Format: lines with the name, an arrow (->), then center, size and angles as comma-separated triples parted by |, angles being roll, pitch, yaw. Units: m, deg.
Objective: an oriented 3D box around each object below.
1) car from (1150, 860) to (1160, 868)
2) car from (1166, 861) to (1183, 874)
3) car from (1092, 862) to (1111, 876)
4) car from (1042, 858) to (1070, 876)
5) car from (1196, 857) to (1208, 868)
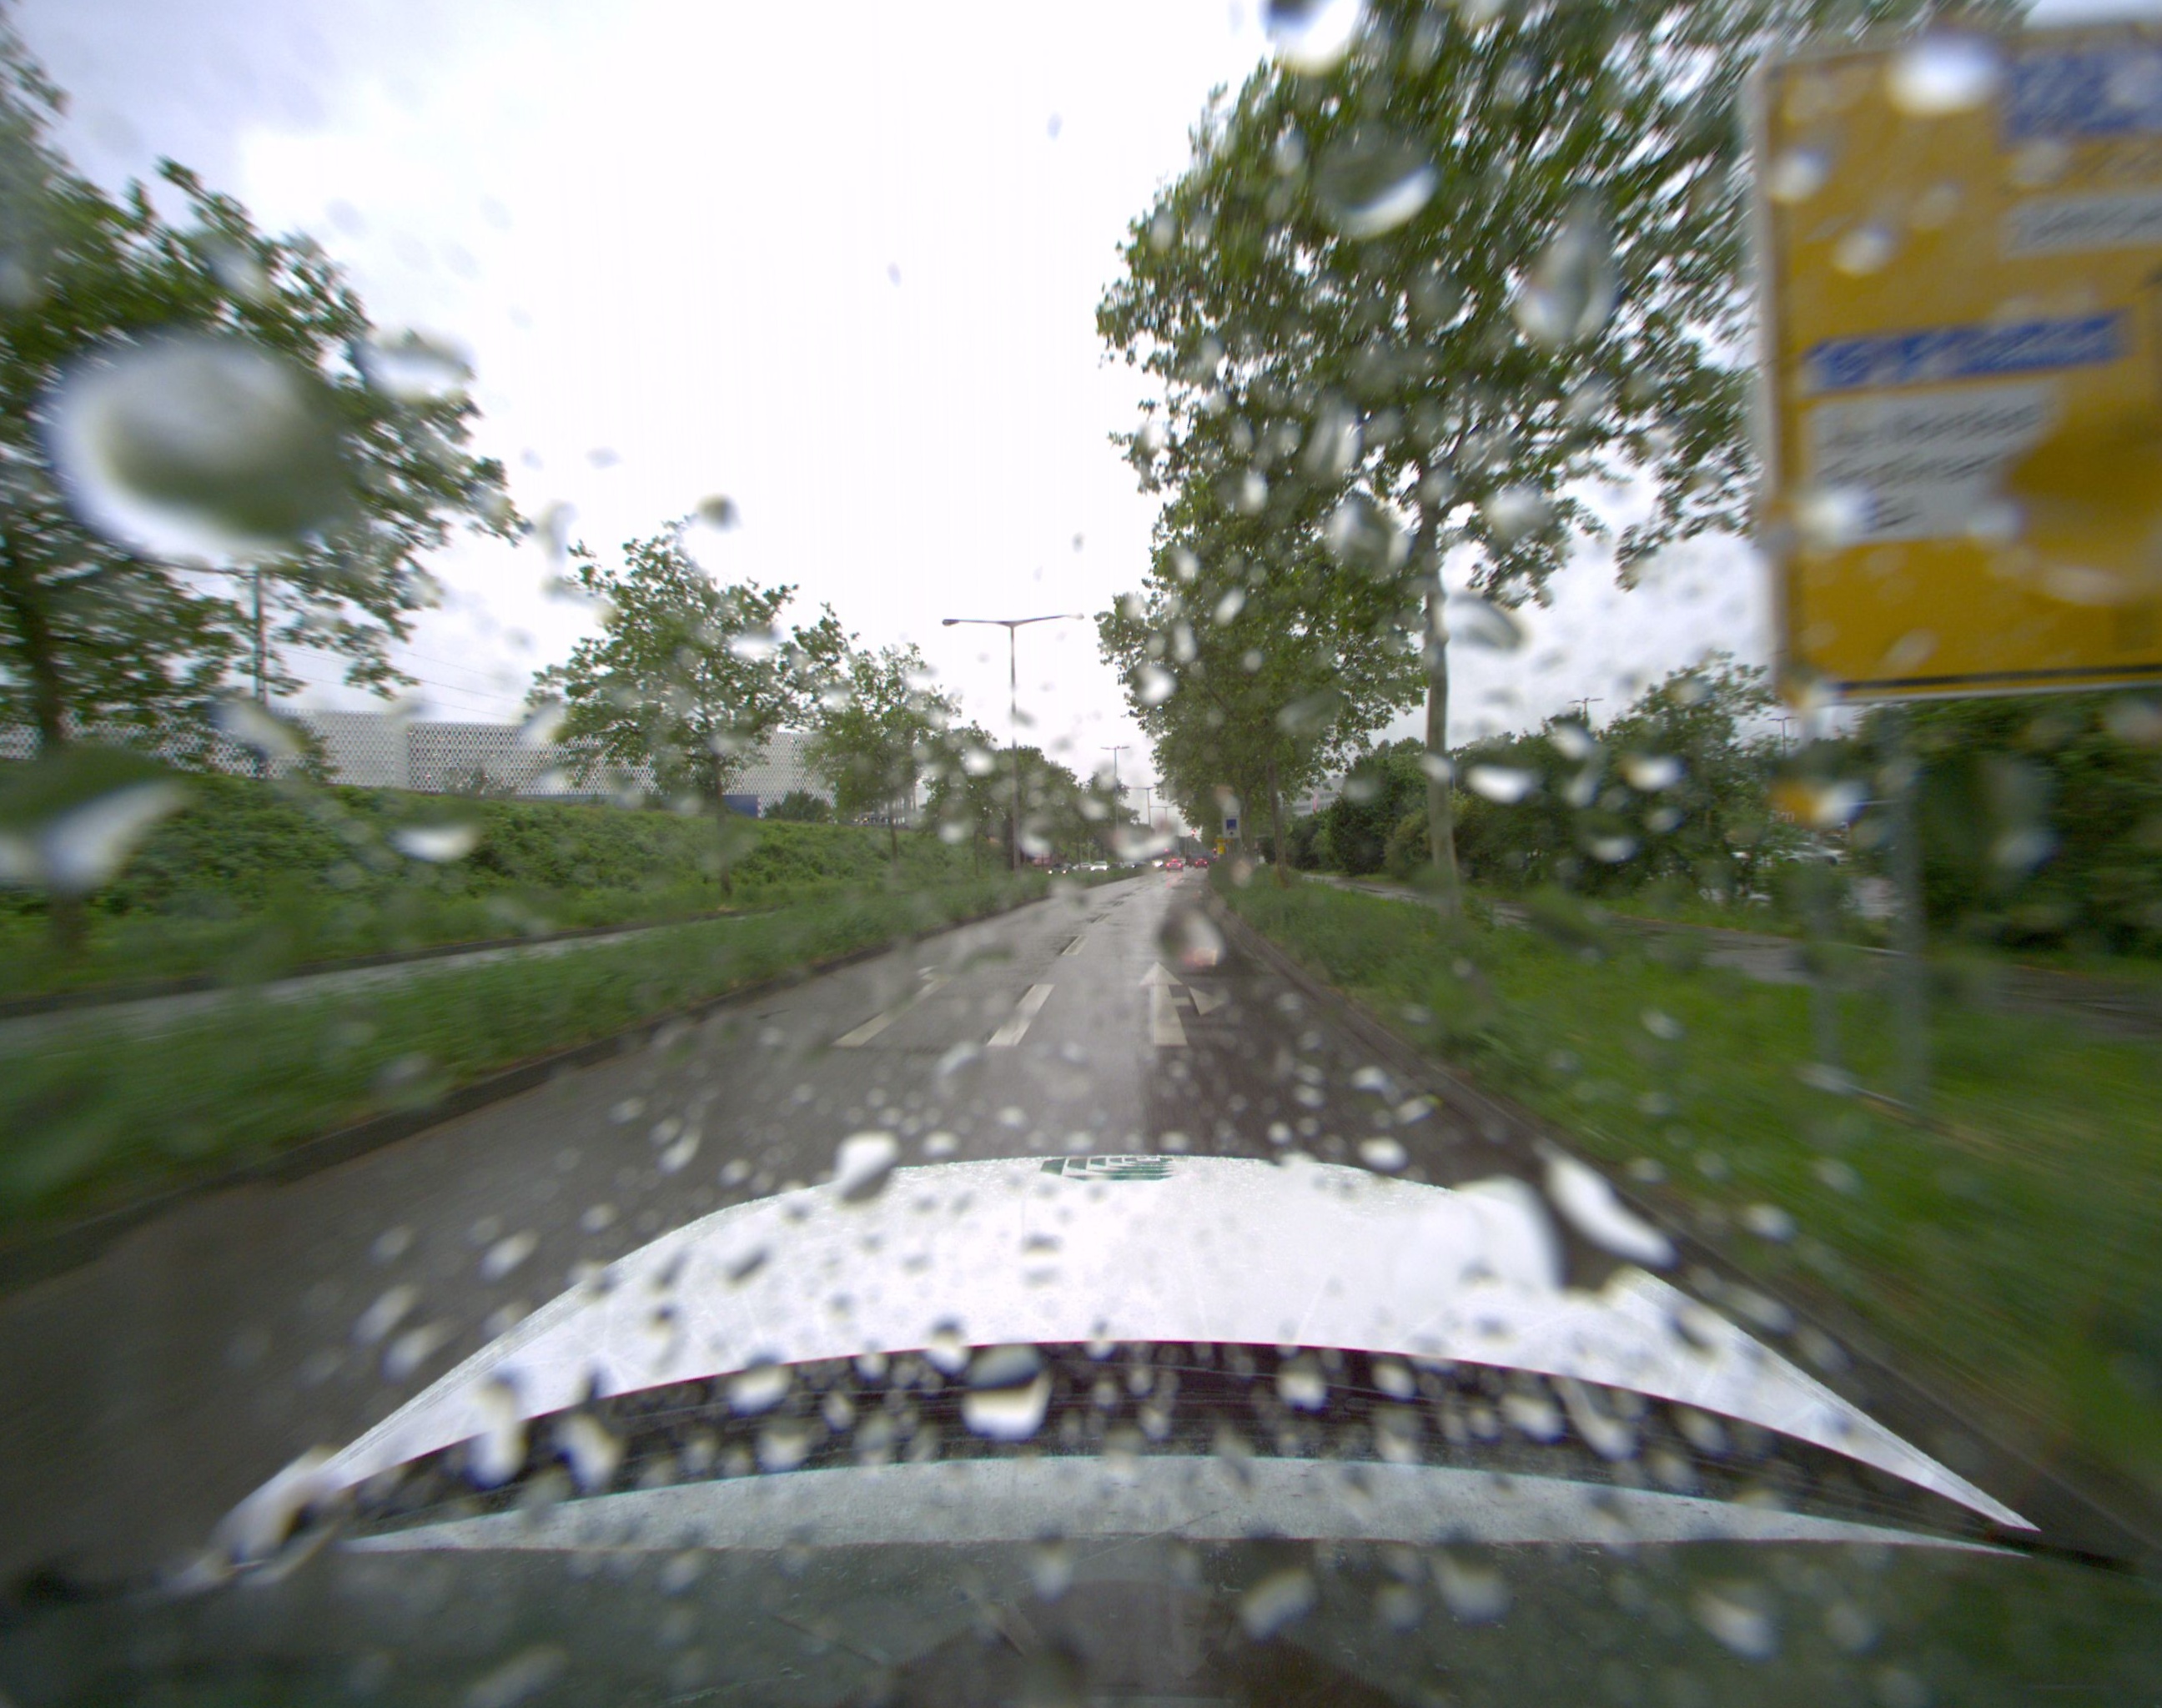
car -> 15.962, 2.178, 176.074 | 1.702, 1.530, 4.010 | -2, -1, 9
car -> 11.191, 1.613, 97.434 | 1.680, 1.433, 4.586 | -1, -1, 9
car -> 2.356, 1.674, 92.834 | 1.692, 1.495, 4.214 | -1, 0, 8
car -> -2.033, 1.045, 67.687 | 1.622, 1.426, 4.009 | -1, 0, 8
car -> 18.848, 1.324, 126.922 | 1.785, 1.537, 4.398 | 0, -1, 9
